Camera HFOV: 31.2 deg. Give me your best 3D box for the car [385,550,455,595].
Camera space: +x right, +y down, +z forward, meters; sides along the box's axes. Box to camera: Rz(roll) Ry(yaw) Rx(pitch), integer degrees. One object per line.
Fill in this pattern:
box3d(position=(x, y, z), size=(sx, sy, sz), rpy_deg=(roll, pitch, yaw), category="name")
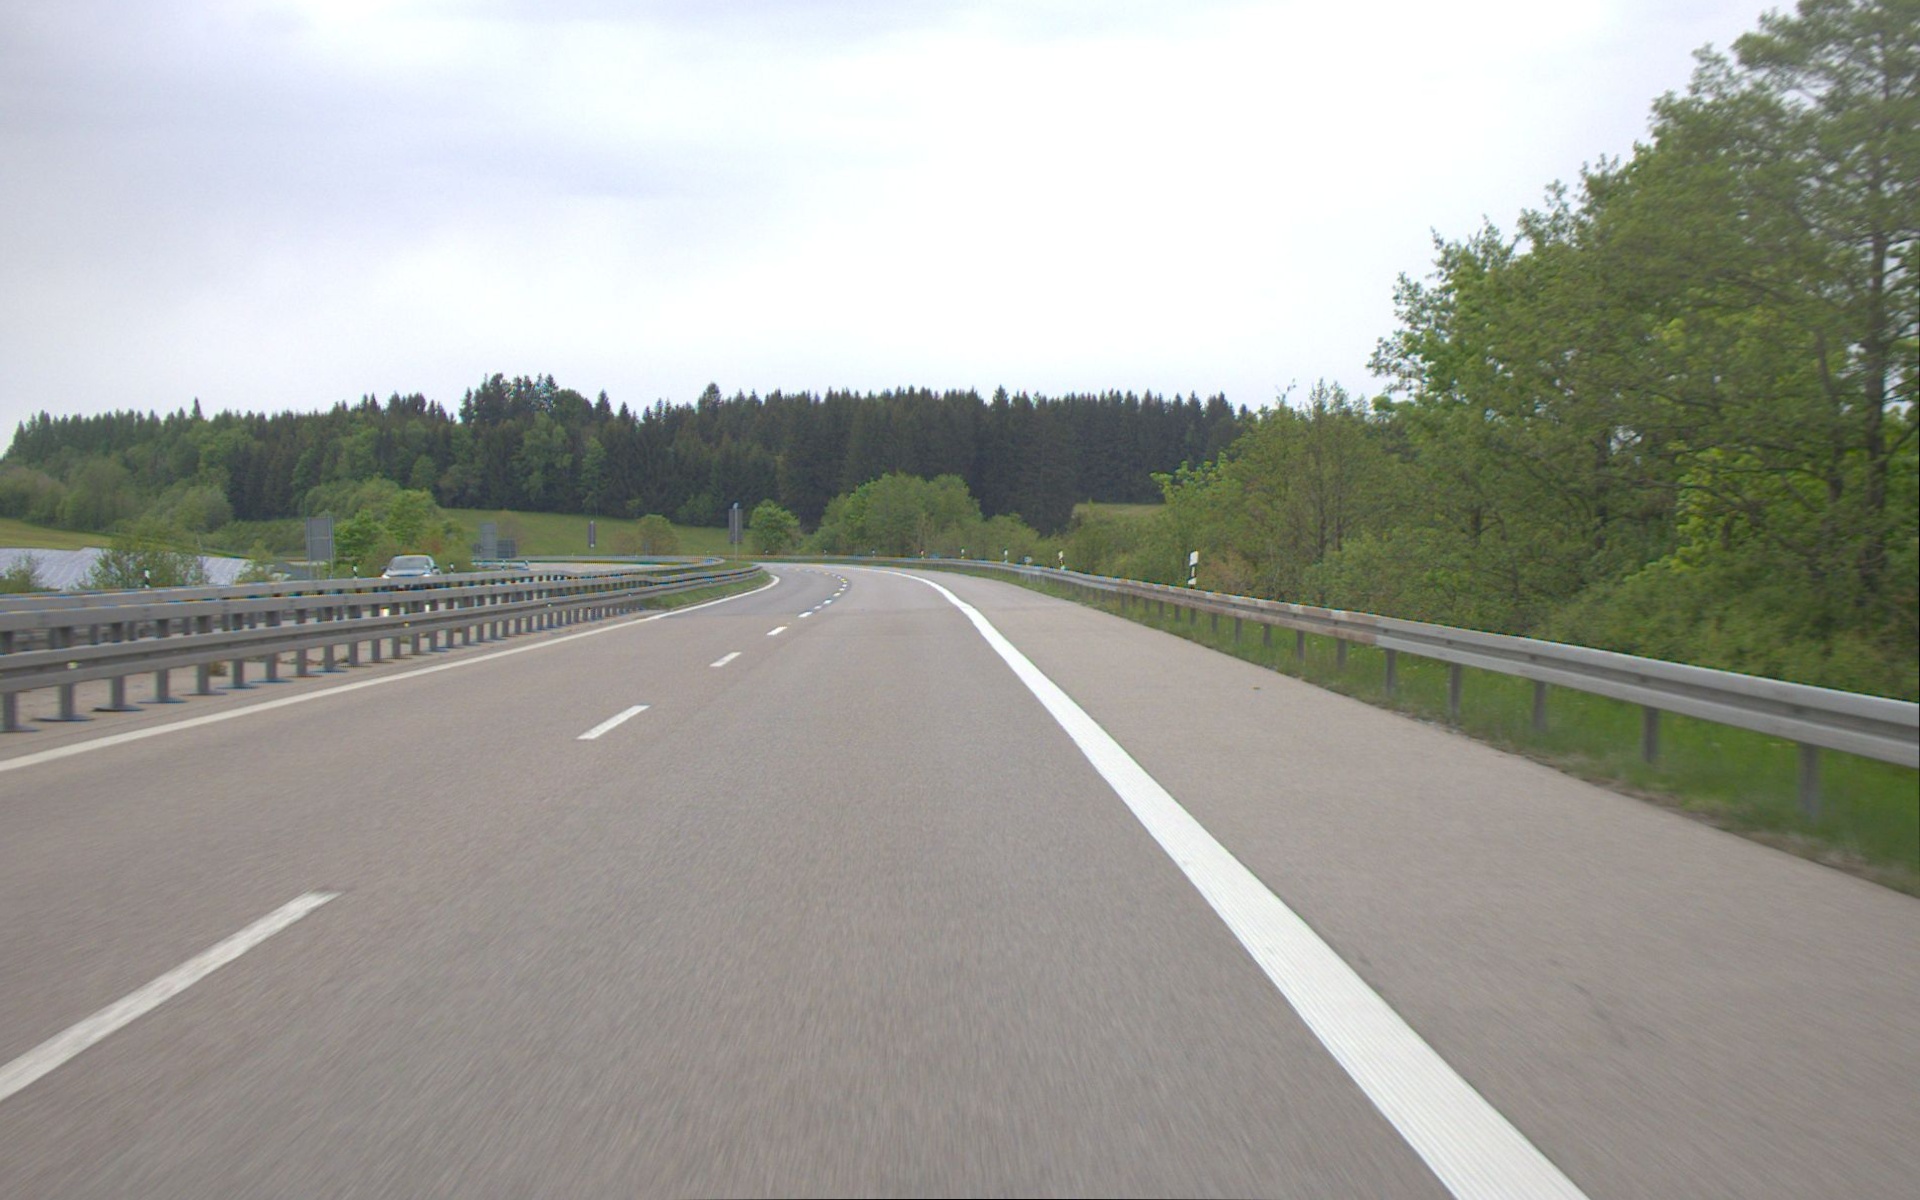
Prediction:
box3d(position=(-19.870, -1.010, 126.627), size=(1.993, 1.611, 4.848), rpy_deg=(0, 0, -2), category="car")
